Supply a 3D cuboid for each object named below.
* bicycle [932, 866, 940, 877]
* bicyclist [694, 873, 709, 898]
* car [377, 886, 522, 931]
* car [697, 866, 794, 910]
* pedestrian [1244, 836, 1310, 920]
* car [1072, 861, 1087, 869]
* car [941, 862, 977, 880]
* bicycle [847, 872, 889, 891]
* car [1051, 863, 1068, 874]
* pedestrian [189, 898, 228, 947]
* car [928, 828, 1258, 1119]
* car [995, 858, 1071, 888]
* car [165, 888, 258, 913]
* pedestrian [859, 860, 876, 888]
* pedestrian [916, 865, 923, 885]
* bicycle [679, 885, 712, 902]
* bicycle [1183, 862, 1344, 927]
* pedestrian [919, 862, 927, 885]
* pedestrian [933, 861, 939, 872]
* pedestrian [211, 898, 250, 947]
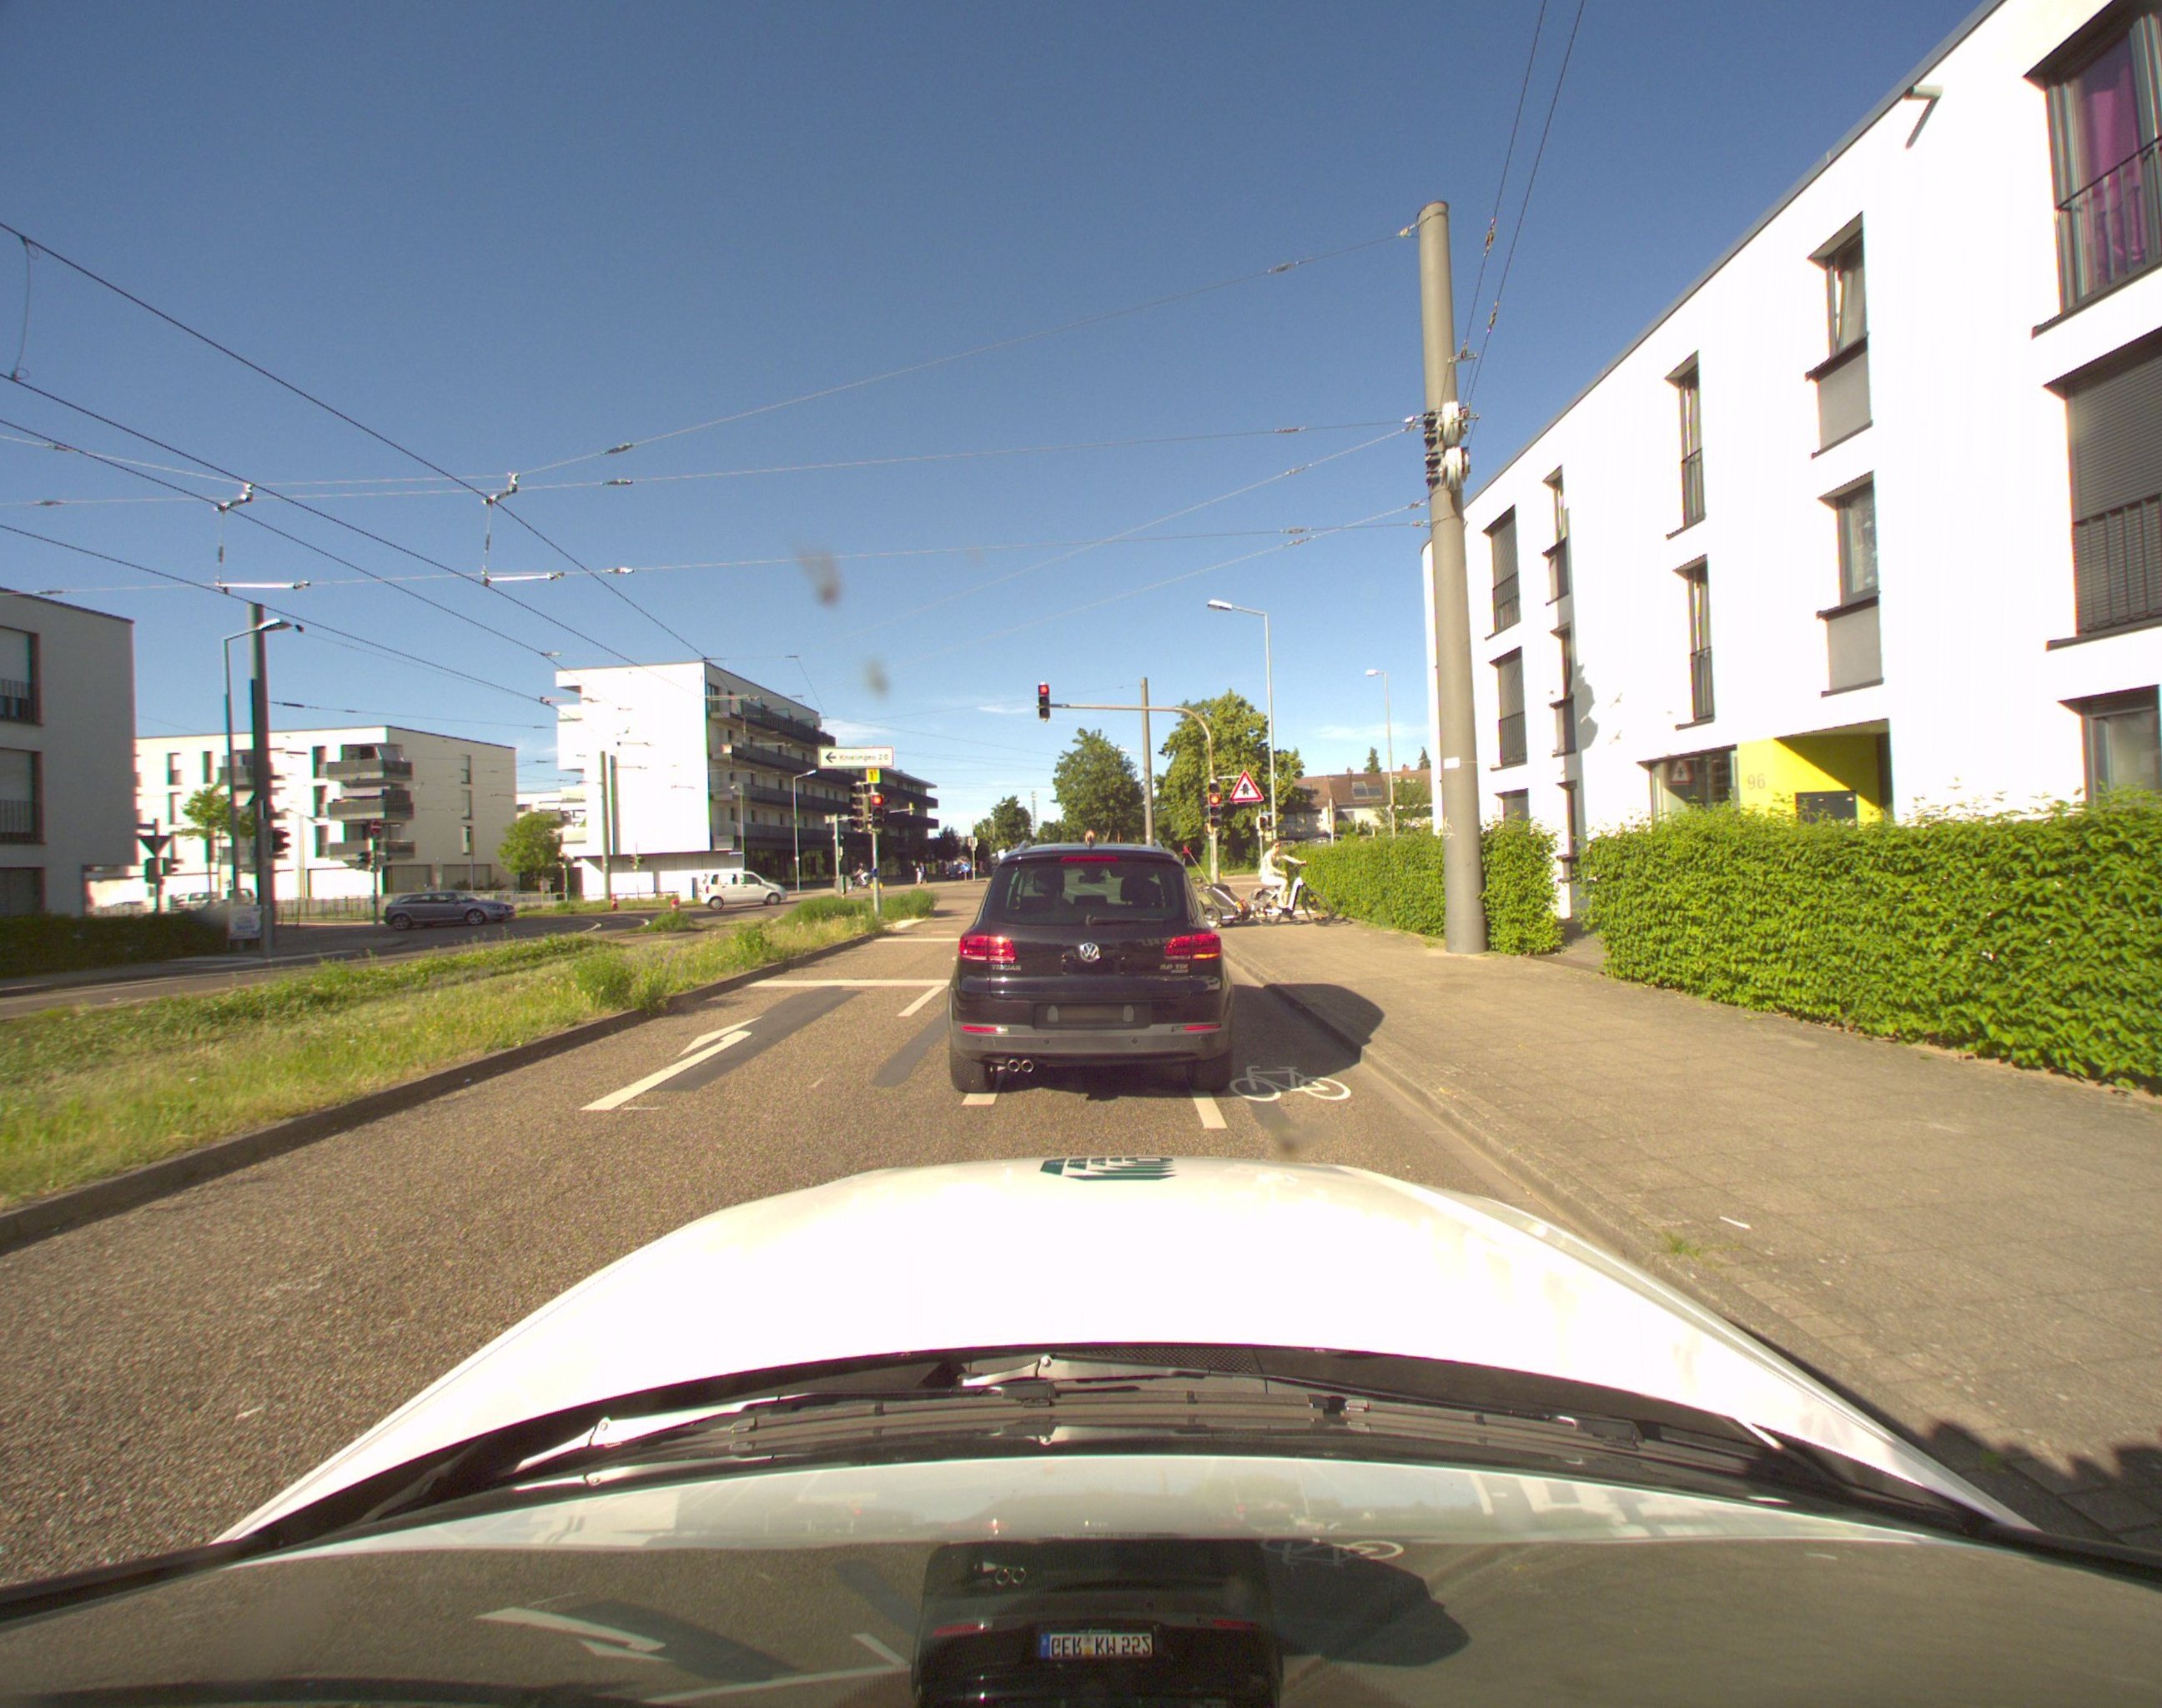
[{"bbox_3d":[-19.221,2.308,107.778,0.628,1.332,1.913,0,-1,2],"label":"bicycle"},{"bbox_3d":[-25.498,2.116,54.686,0.637,1.614,0.785,0,-1,-1],"label":"bicyclist"},{"bbox_3d":[-25.004,2.127,32.386,4.097,1.485,1.863,-3,0,-11],"label":"car"},{"bbox_3d":[-14.930,1.453,36.245,3.700,1.720,1.851,-2,0,-32],"label":"car"},{"bbox_3d":[3.874,0.459,16.104,0.844,1.594,0.919,-3,-1,43],"label":"pedestrian"},{"bbox_3d":[-0.270,2.042,153.109,1.981,1.574,4.350,-1,-1,9],"label":"car"},{"bbox_3d":[-11.490,1.600,77.183,1.980,1.574,4.353,-1,-1,11],"label":"car"},{"bbox_3d":[-13.282,1.714,50.819,2.399,1.002,0.641,-3,-1,3],"label":"bicycle"},{"bbox_3d":[-3.369,2.241,127.919,1.981,1.574,4.350,-1,-1,9],"label":"car"},{"bbox_3d":[-30.387,2.375,28.368,0.776,1.605,0.735,0,-1,-34],"label":"pedestrian"},{"bbox_3d":[0.128,0.691,6.614,1.862,1.637,4.001,0,-1,2],"label":"car"},{"bbox_3d":[-2.812,1.076,47.156,3.948,1.684,2.013,-1,-1,32],"label":"car"},{"bbox_3d":[-58.951,3.157,55.237,4.305,1.574,2.002,0,-1,4],"label":"car"},{"bbox_3d":[-13.328,1.216,50.828,0.809,1.692,0.621,-3,-1,4],"label":"pedestrian"},{"bbox_3d":[-11.840,1.548,59.836,0.440,1.503,0.517,0,-1,-4],"label":"pedestrian"},{"bbox_3d":[-25.872,2.651,54.671,1.850,1.124,0.822,0,-1,-2],"label":"bicycle"},{"bbox_3d":[3.604,0.807,16.382,3.086,1.173,0.937,-3,-1,44],"label":"bicycle"},{"bbox_3d":[-11.705,1.436,60.403,0.542,1.744,0.517,0,-1,-4],"label":"pedestrian"},{"bbox_3d":[-19.216,1.683,107.820,0.640,1.509,0.596,0,-1,2],"label":"pedestrian"},{"bbox_3d":[-29.642,2.369,28.385,0.776,1.605,0.735,0,-1,-34],"label":"pedestrian"}]
